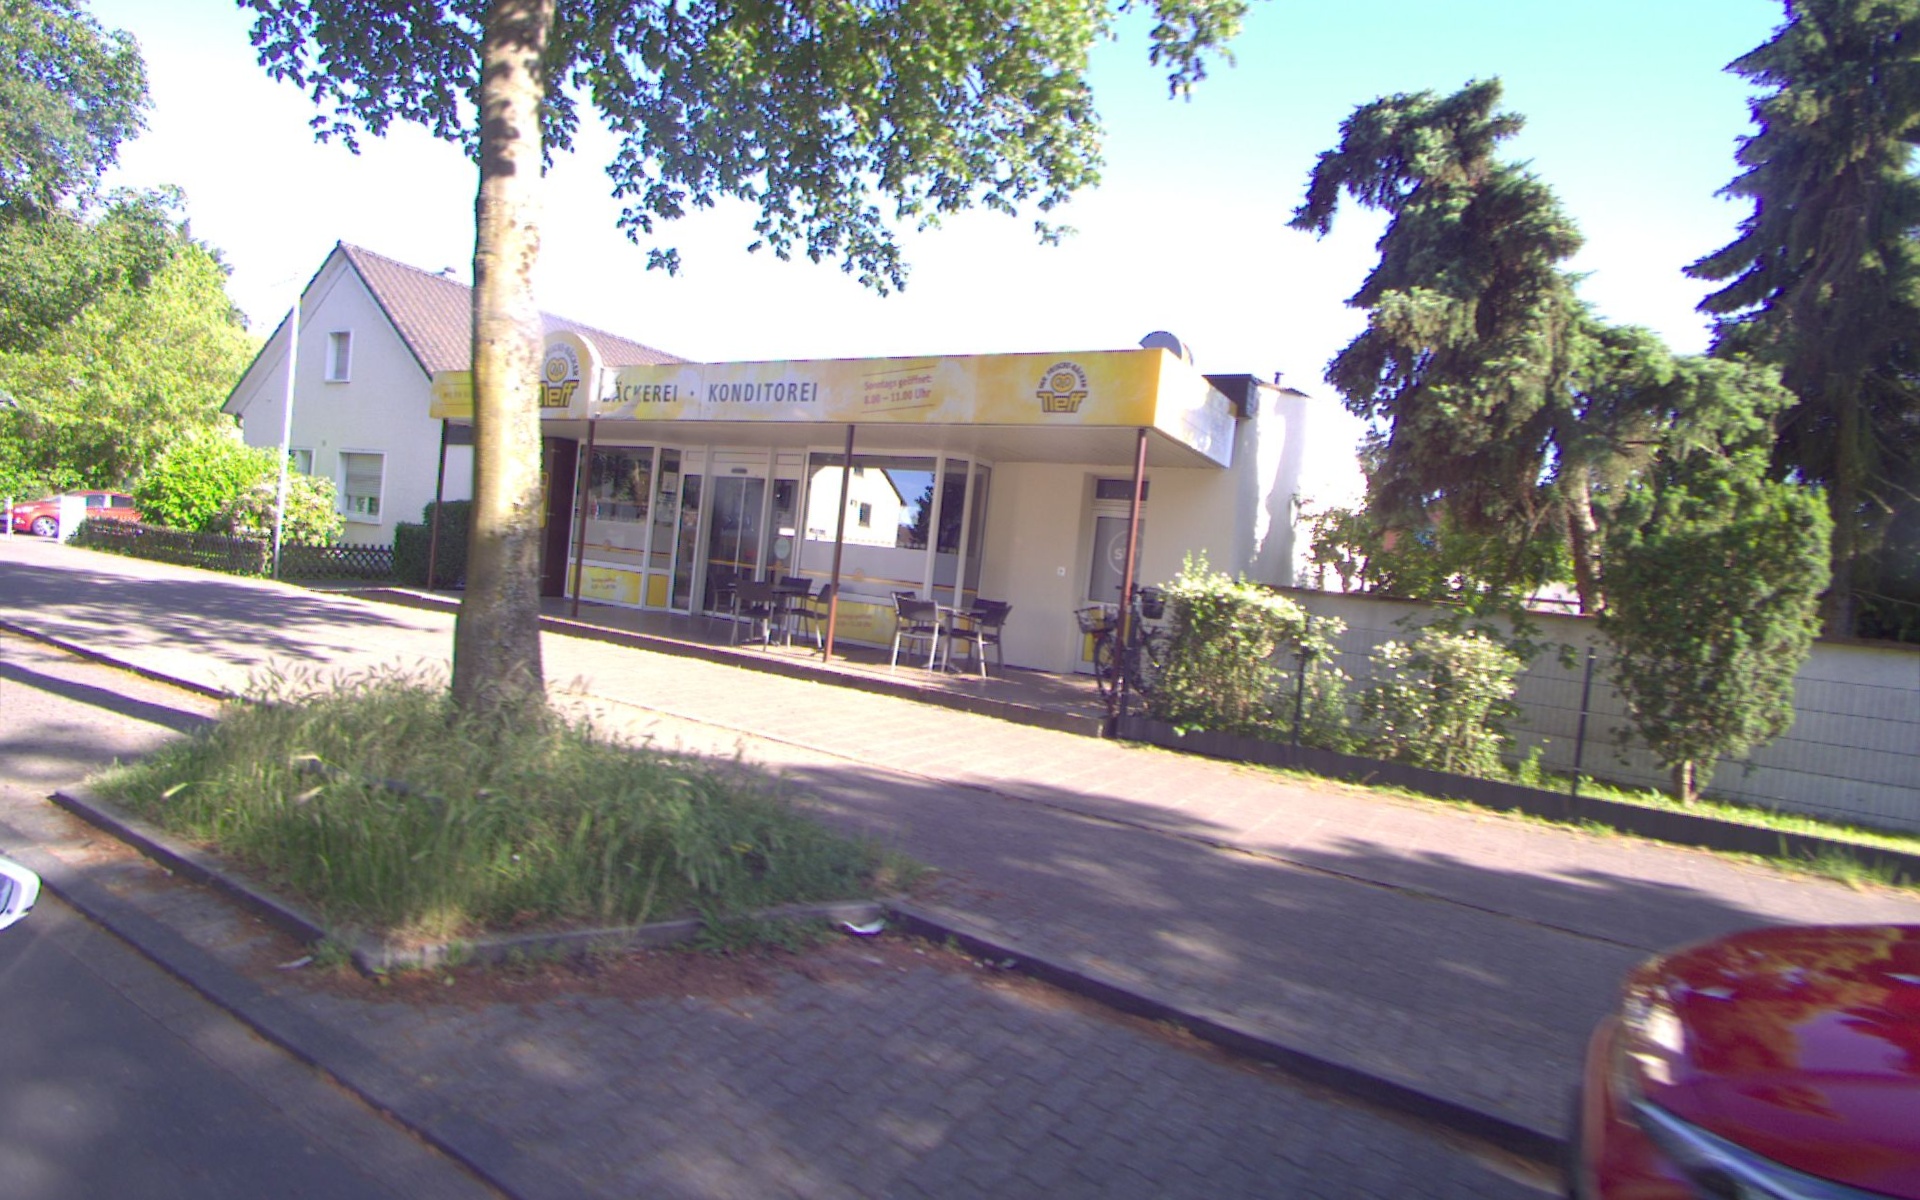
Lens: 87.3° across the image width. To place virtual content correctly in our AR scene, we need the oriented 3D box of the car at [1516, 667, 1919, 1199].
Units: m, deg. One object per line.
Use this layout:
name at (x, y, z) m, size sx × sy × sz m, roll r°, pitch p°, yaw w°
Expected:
car at (2.841, 1.052, 1.229) m, size 3.716 × 1.441 × 1.685 m, roll 6°, pitch 2°, yaw 32°

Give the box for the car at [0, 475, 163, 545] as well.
car at (-26.428, -2.672, 30.155) m, size 1.611 × 1.530 × 3.546 m, roll 8°, pitch 1°, yaw 27°
